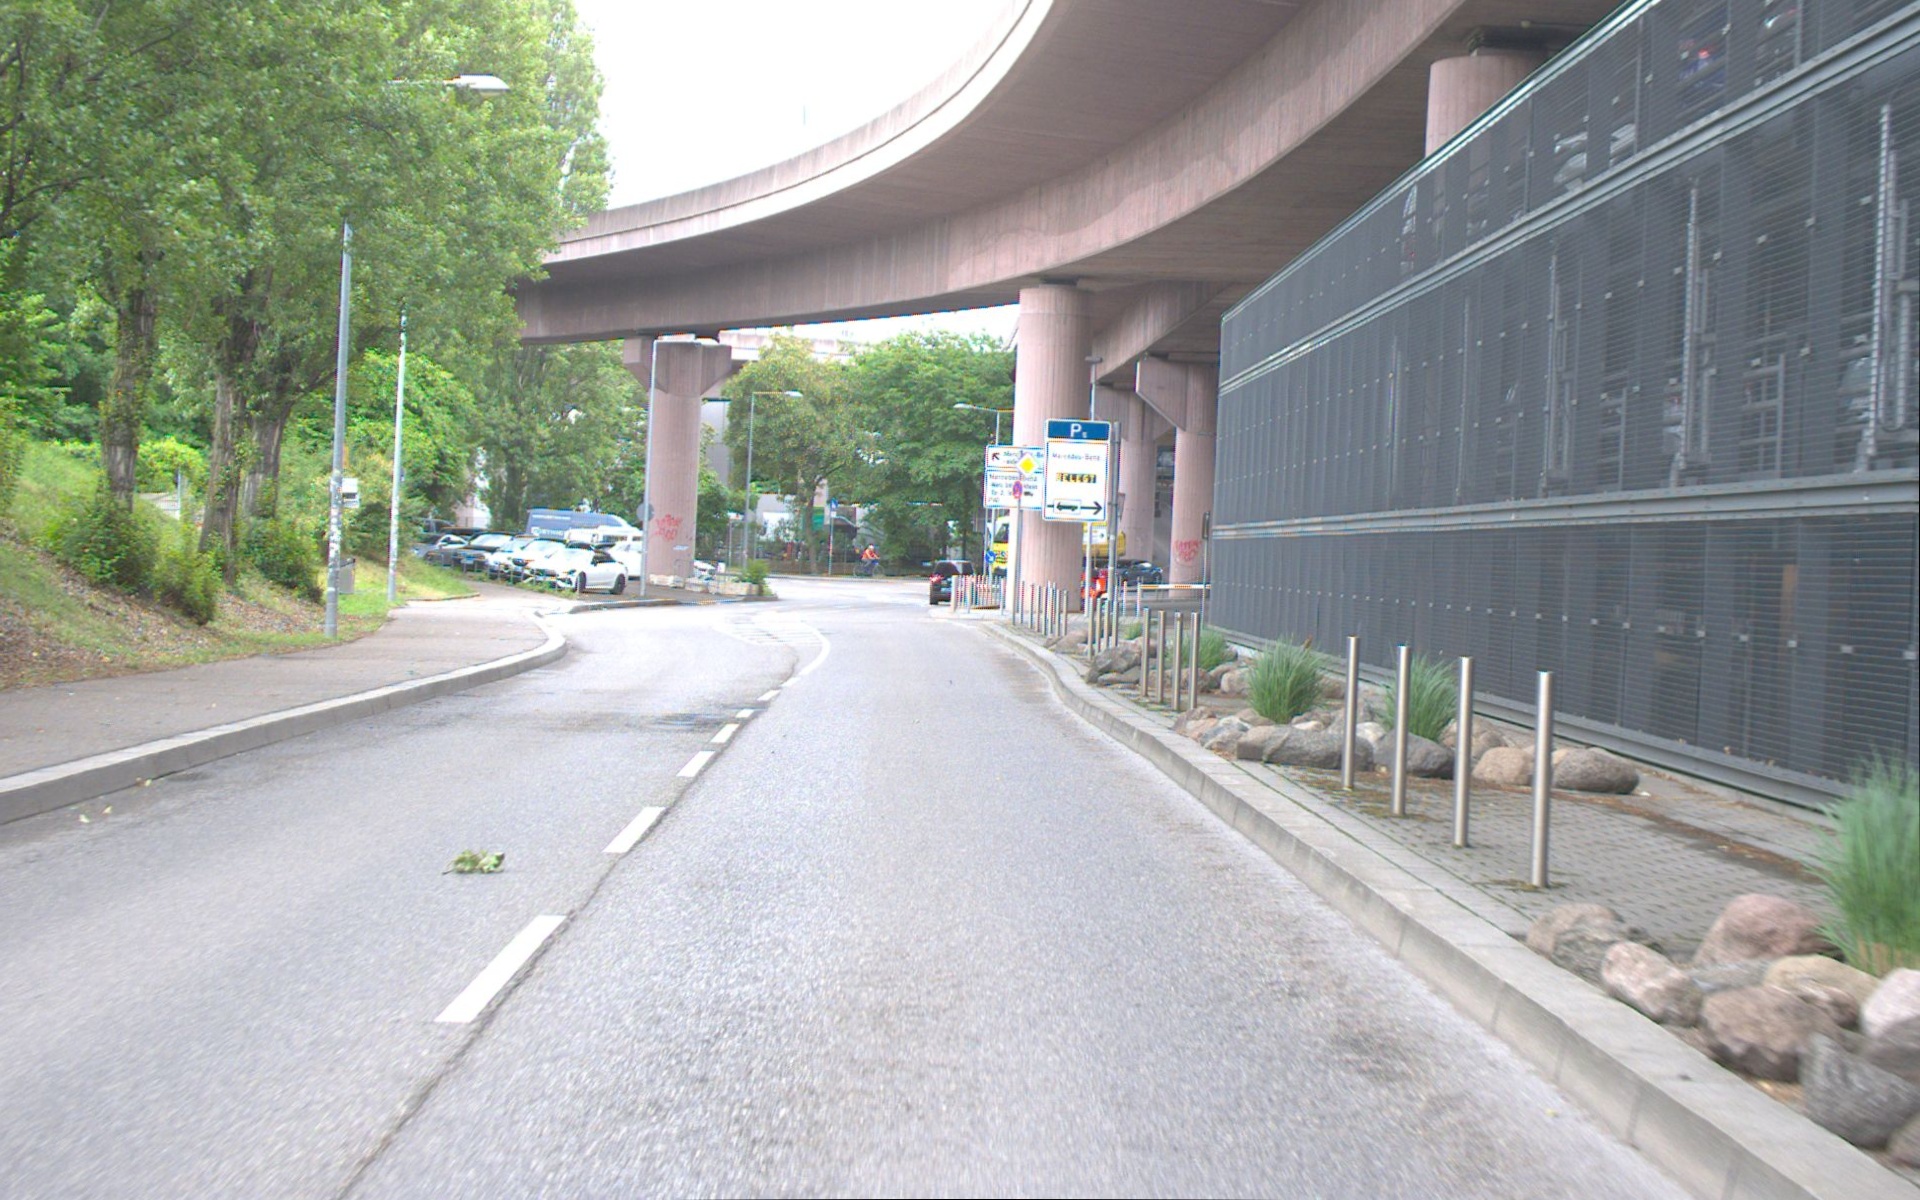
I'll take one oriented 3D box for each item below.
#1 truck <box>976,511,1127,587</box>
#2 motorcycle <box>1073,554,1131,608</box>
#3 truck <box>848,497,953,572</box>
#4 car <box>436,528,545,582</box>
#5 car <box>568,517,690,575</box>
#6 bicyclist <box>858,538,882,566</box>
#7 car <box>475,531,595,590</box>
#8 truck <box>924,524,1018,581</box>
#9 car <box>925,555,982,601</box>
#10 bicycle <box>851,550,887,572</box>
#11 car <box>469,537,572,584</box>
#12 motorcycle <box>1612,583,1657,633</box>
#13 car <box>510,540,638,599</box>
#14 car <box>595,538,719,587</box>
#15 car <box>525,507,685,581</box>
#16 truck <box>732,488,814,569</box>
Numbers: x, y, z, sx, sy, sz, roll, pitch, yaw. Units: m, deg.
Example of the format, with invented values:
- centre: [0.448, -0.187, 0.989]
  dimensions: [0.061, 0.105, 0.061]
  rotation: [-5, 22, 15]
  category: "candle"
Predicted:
- centre: [4.628, -2.590, 172.188]
  dimensions: [2.934, 3.469, 8.226]
  rotation: [6, 6, 39]
  category: "truck"
- centre: [3.697, -0.503, 89.403]
  dimensions: [0.795, 1.362, 2.130]
  rotation: [1, 1, -18]
  category: "motorcycle"
- centre: [-3.329, -3.636, 189.446]
  dimensions: [3.065, 3.854, 8.051]
  rotation: [1, 3, -22]
  category: "truck"
- centre: [-16.435, -1.565, 120.518]
  dimensions: [1.859, 1.685, 4.159]
  rotation: [3, 0, 23]
  category: "car"
- centre: [-13.529, -2.192, 140.473]
  dimensions: [4.557, 2.104, 1.850]
  rotation: [3, 1, 8]
  category: "car"
- centre: [-4.513, -2.396, 172.456]
  dimensions: [0.796, 1.400, 1.066]
  rotation: [0, 1, -32]
  category: "bicyclist"
- centre: [-14.070, -1.286, 114.068]
  dimensions: [1.996, 1.577, 4.395]
  rotation: [7, 1, 20]
  category: "car"
- centre: [0.564, -2.656, 190.904]
  dimensions: [2.914, 2.889, 6.561]
  rotation: [1, 3, -22]
  category: "truck"
- centre: [-0.279, -0.866, 132.097]
  dimensions: [1.993, 1.673, 4.561]
  rotation: [2, 1, -2]
  category: "car"
- centre: [-4.568, -1.952, 172.538]
  dimensions: [0.802, 1.094, 2.131]
  rotation: [0, 1, -32]
  category: "bicycle"
- centre: [-15.012, -1.344, 117.564]
  dimensions: [1.789, 1.449, 3.742]
  rotation: [3, 0, 23]
  category: "car"
- centre: [17.962, 0.208, 91.552]
  dimensions: [0.571, 1.101, 2.330]
  rotation: [2, 5, -3]
  category: "motorcycle"
- centre: [-12.312, -0.958, 110.013]
  dimensions: [1.996, 1.475, 4.823]
  rotation: [6, 0, 20]
  category: "car"
- centre: [-11.867, -1.467, 134.693]
  dimensions: [4.383, 1.600, 1.953]
  rotation: [5, 1, 12]
  category: "car"
- centre: [-14.778, -2.318, 143.314]
  dimensions: [6.176, 2.715, 2.368]
  rotation: [3, 1, 4]
  category: "car"
- centre: [-11.665, -4.478, 213.630]
  dimensions: [3.202, 4.763, 8.051]
  rotation: [1, 3, -17]
  category: "truck"
